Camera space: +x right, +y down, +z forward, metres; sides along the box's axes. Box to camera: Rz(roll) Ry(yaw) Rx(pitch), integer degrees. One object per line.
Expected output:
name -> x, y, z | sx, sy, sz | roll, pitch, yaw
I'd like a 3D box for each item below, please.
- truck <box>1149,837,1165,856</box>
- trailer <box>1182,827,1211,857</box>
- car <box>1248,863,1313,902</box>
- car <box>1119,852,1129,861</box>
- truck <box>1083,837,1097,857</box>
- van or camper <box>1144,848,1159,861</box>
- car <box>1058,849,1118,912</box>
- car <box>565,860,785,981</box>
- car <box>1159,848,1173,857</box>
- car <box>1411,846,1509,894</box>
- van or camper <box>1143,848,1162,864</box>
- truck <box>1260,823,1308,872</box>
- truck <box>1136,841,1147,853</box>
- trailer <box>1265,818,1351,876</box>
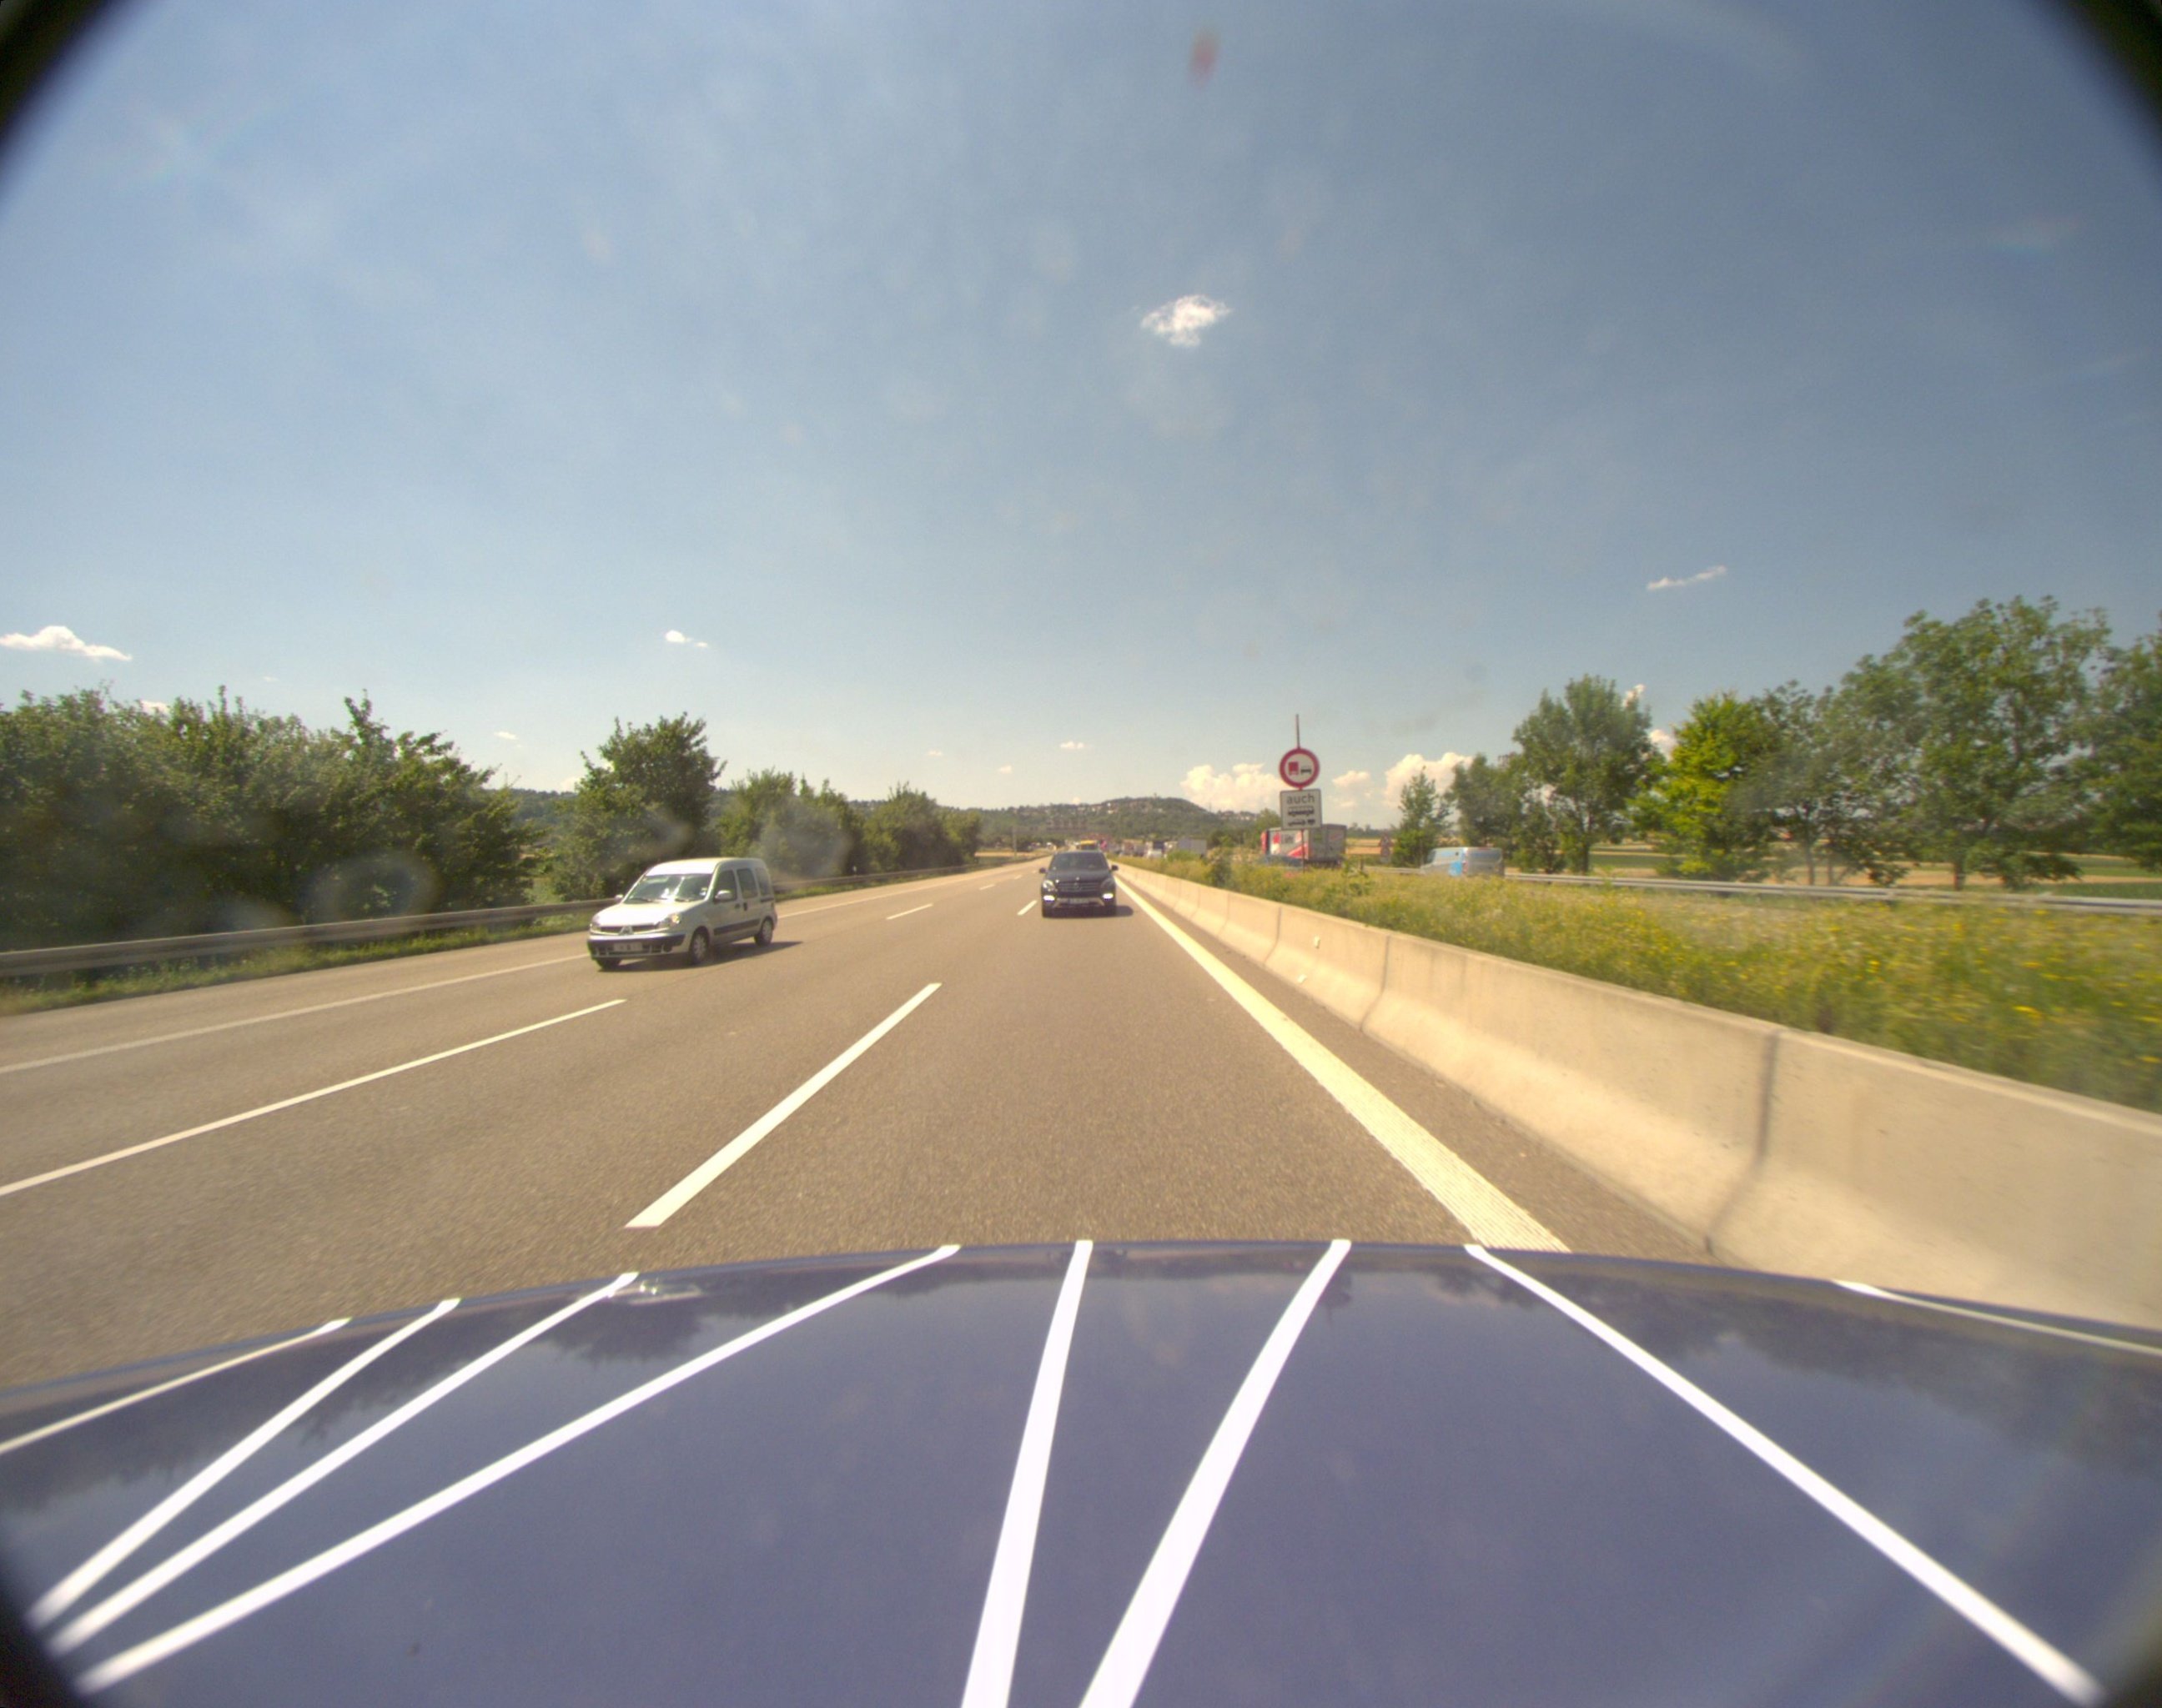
truck -> 17.967, -1.745, 180.388 | 2.599, 4.214, 14.121 | 2, 1, 1
trailer -> 17.556, -1.795, 116.364 | 2.890, 4.325, 13.642 | 0, 0, 2
car -> 8.753, 1.202, 33.737 | 1.766, 1.541, 4.727 | -1, 0, 2
car -> 10.449, 0.603, 185.437 | 1.998, 1.934, 4.794 | -1, 1, 0
truck -> 1.547, -1.304, 128.481 | 2.272, 3.139, 8.185 | -2, 2, 1
van or camper -> 12.671, 0.017, 136.432 | 2.099, 2.261, 5.493 | -1, 0, 0
car -> 0.239, 0.736, 23.042 | 1.630, 1.711, 3.864 | -1, 0, 1
car -> -6.922, 1.027, 13.498 | 1.630, 1.727, 3.972 | -2, 0, 1
car -> 12.960, -0.222, 115.984 | 1.621, 1.455, 3.864 | -1, 0, 0
car -> 16.734, 0.662, 33.851 | 1.766, 1.941, 5.117 | 1, 0, 0
van or camper -> 9.132, 0.239, 97.264 | 1.998, 1.922, 5.201 | -1, 0, 0
truck -> 16.682, -0.526, 62.712 | 2.863, 3.833, 4.000 | 0, 1, 1
truck -> 18.721, -2.163, 235.456 | 2.706, 3.599, 8.786 | 1, 1, 2
trailer -> 16.621, -0.484, 56.687 | 2.863, 3.833, 12.184 | 0, 0, 1
